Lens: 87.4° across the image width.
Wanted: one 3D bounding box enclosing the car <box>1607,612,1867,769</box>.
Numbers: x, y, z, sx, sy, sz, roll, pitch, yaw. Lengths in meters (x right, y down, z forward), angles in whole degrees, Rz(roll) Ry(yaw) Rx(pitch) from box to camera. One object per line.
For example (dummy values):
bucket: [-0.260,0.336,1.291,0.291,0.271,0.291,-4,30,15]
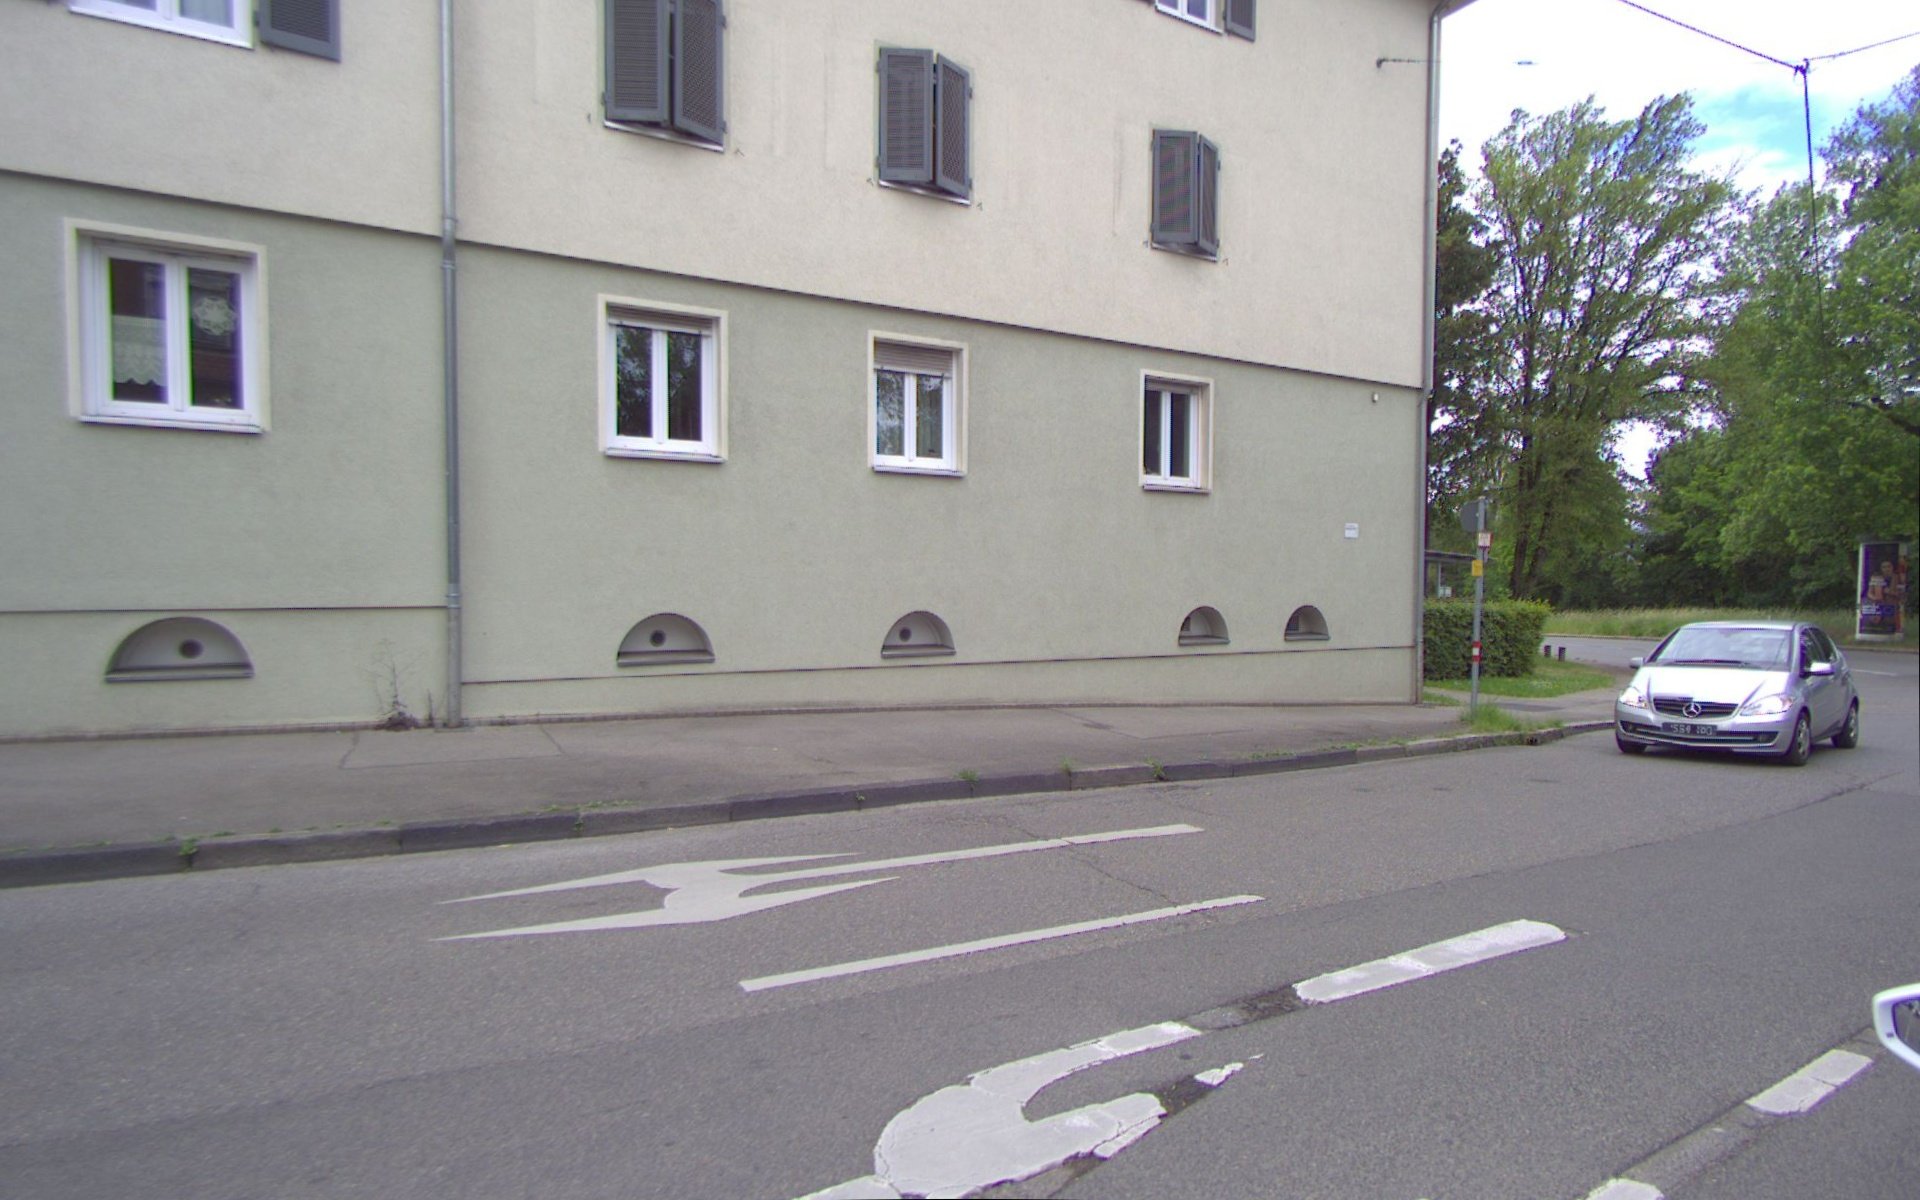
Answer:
car: [9.662,0.976,12.393,3.943,1.626,1.708,0,-1,-40]
